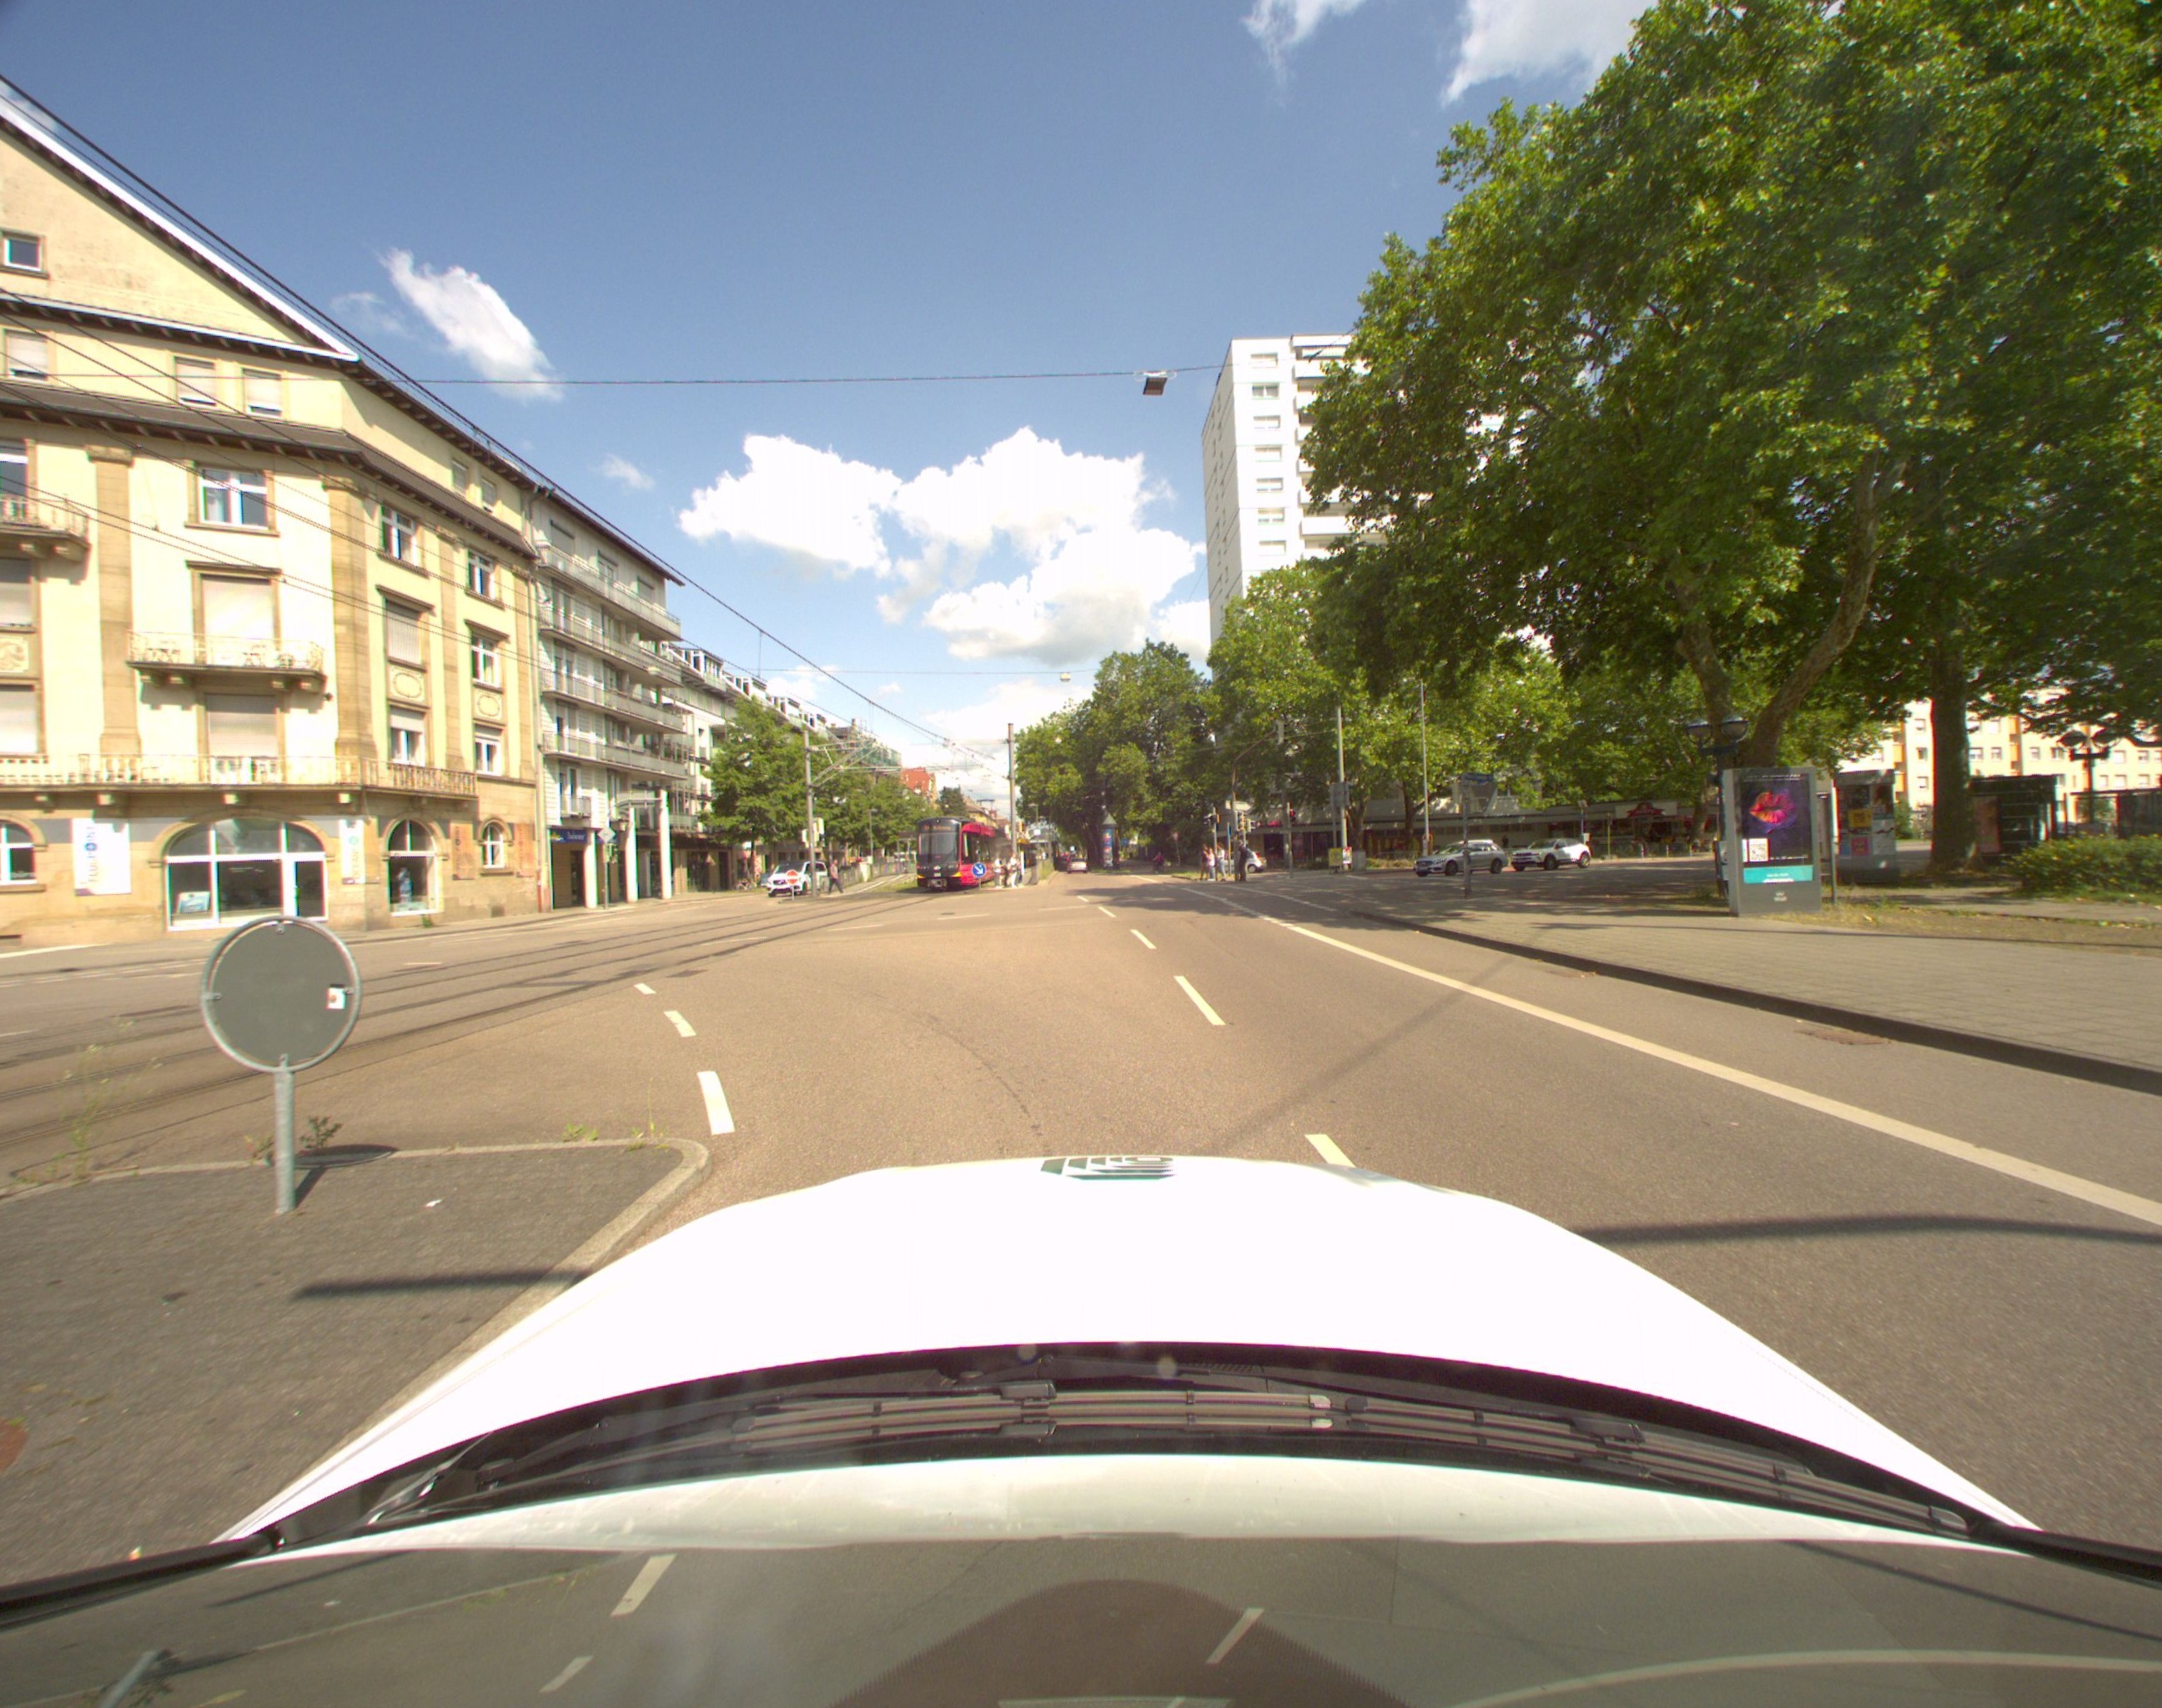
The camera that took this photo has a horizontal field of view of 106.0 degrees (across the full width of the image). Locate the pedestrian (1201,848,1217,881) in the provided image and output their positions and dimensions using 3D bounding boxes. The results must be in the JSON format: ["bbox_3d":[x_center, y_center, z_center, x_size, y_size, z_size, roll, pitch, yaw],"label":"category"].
[{"bbox_3d":[6.307,0.503,40.067,0.512,1.597,0.552,-2,0,-22],"label":"pedestrian"}]

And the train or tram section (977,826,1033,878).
[{"bbox_3d":[-5.818,-0.147,64.557,2.795,3.561,12.161,-3,0,2],"label":"train or tram section"}]

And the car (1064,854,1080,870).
[{"bbox_3d":[-1.227,0.989,106.059,1.988,2.013,3.997,-1,0,-2],"label":"car"}]

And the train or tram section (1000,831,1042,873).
[{"bbox_3d":[-5.389,-0.211,75.115,2.756,3.482,8.911,-3,0,2],"label":"train or tram section"}]

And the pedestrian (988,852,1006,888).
[{"bbox_3d":[-4.003,0.756,38.873,0.667,1.703,0.648,-3,0,1],"label":"pedestrian"}]

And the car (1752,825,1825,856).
[{"bbox_3d":[41.526,-0.770,47.802,4.005,1.619,1.677,-3,0,-24],"label":"car"}]

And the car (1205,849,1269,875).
[{"bbox_3d":[10.071,0.538,52.524,3.626,1.484,1.746,-3,0,26],"label":"car"}]

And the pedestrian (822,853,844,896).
[{"bbox_3d":[-11.909,0.957,39.172,0.735,2.013,0.705,-2,0,4],"label":"pedestrian"}]

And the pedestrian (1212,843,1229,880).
[{"bbox_3d":[6.638,0.373,38.683,0.529,1.735,0.552,-2,0,-22],"label":"pedestrian"}]

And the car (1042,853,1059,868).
[{"bbox_3d":[-3.913,0.795,104.313,1.808,1.804,4.002,-3,0,2],"label":"car"}]

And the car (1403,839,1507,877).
[{"bbox_3d":[16.681,0.158,36.337,3.998,1.490,1.850,-2,0,-18],"label":"car"}]

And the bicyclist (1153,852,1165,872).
[{"bbox_3d":[5.699,0.589,59.740,0.616,1.384,0.875,-2,0,-10],"label":"bicyclist"}]

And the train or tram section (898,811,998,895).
[{"bbox_3d":[-6.462,-0.061,41.616,2.786,3.561,11.380,-3,0,2],"label":"train or tram section"}]

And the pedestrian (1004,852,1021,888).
[{"bbox_3d":[-3.258,0.757,38.787,0.667,1.703,0.648,-3,0,1],"label":"pedestrian"}]

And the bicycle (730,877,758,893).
[{"bbox_3d":[-23.391,2.150,56.611,1.686,0.986,0.496,-3,0,-4],"label":"bicycle"}]

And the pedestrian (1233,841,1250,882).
[{"bbox_3d":[7.320,0.350,37.176,0.475,1.825,0.560,-3,0,41],"label":"pedestrian"}]

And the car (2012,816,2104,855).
[{"bbox_3d":[44.321,-0.845,36.932,4.007,1.501,1.676,-3,0,-25],"label":"car"}]

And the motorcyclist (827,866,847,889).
[{"bbox_3d":[-15.355,1.480,51.240,0.891,1.404,1.087,-2,0,-1],"label":"motorcyclist"}]

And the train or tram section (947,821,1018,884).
[{"bbox_3d":[-6.174,-0.103,52.914,2.795,3.561,11.185,-3,0,2],"label":"train or tram section"}]

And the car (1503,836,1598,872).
[{"bbox_3d":[22.527,-0.002,39.089,4.080,1.490,1.847,-2,0,-23],"label":"car"}]

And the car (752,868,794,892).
[{"bbox_3d":[-23.959,2.003,63.433,1.842,1.789,3.997,0,0,-2],"label":"car"}]

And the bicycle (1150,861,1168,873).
[{"bbox_3d":[5.711,0.949,59.742,0.616,0.880,2.528,-2,0,-10],"label":"bicycle"}]

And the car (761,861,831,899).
[{"bbox_3d":[-15.595,1.367,44.930,1.987,1.891,5.170,-2,0,-1],"label":"car"}]

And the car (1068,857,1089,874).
[{"bbox_3d":[-0.225,1.023,73.652,1.743,1.453,3.604,-3,0,0],"label":"car"}]

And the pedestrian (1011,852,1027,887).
[{"bbox_3d":[-3.123,0.764,40.816,0.667,1.703,0.648,-3,0,1],"label":"pedestrian"}]

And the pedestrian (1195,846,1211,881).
[{"bbox_3d":[6.087,0.471,40.591,0.512,1.671,0.552,-2,0,-22],"label":"pedestrian"}]

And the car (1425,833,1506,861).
[{"bbox_3d":[22.586,-0.401,47.952,3.822,1.490,1.862,-3,0,2],"label":"car"}]

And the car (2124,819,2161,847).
[{"bbox_3d":[72.735,-1.475,55.418,4.013,1.719,1.568,-3,0,-30],"label":"car"}]
